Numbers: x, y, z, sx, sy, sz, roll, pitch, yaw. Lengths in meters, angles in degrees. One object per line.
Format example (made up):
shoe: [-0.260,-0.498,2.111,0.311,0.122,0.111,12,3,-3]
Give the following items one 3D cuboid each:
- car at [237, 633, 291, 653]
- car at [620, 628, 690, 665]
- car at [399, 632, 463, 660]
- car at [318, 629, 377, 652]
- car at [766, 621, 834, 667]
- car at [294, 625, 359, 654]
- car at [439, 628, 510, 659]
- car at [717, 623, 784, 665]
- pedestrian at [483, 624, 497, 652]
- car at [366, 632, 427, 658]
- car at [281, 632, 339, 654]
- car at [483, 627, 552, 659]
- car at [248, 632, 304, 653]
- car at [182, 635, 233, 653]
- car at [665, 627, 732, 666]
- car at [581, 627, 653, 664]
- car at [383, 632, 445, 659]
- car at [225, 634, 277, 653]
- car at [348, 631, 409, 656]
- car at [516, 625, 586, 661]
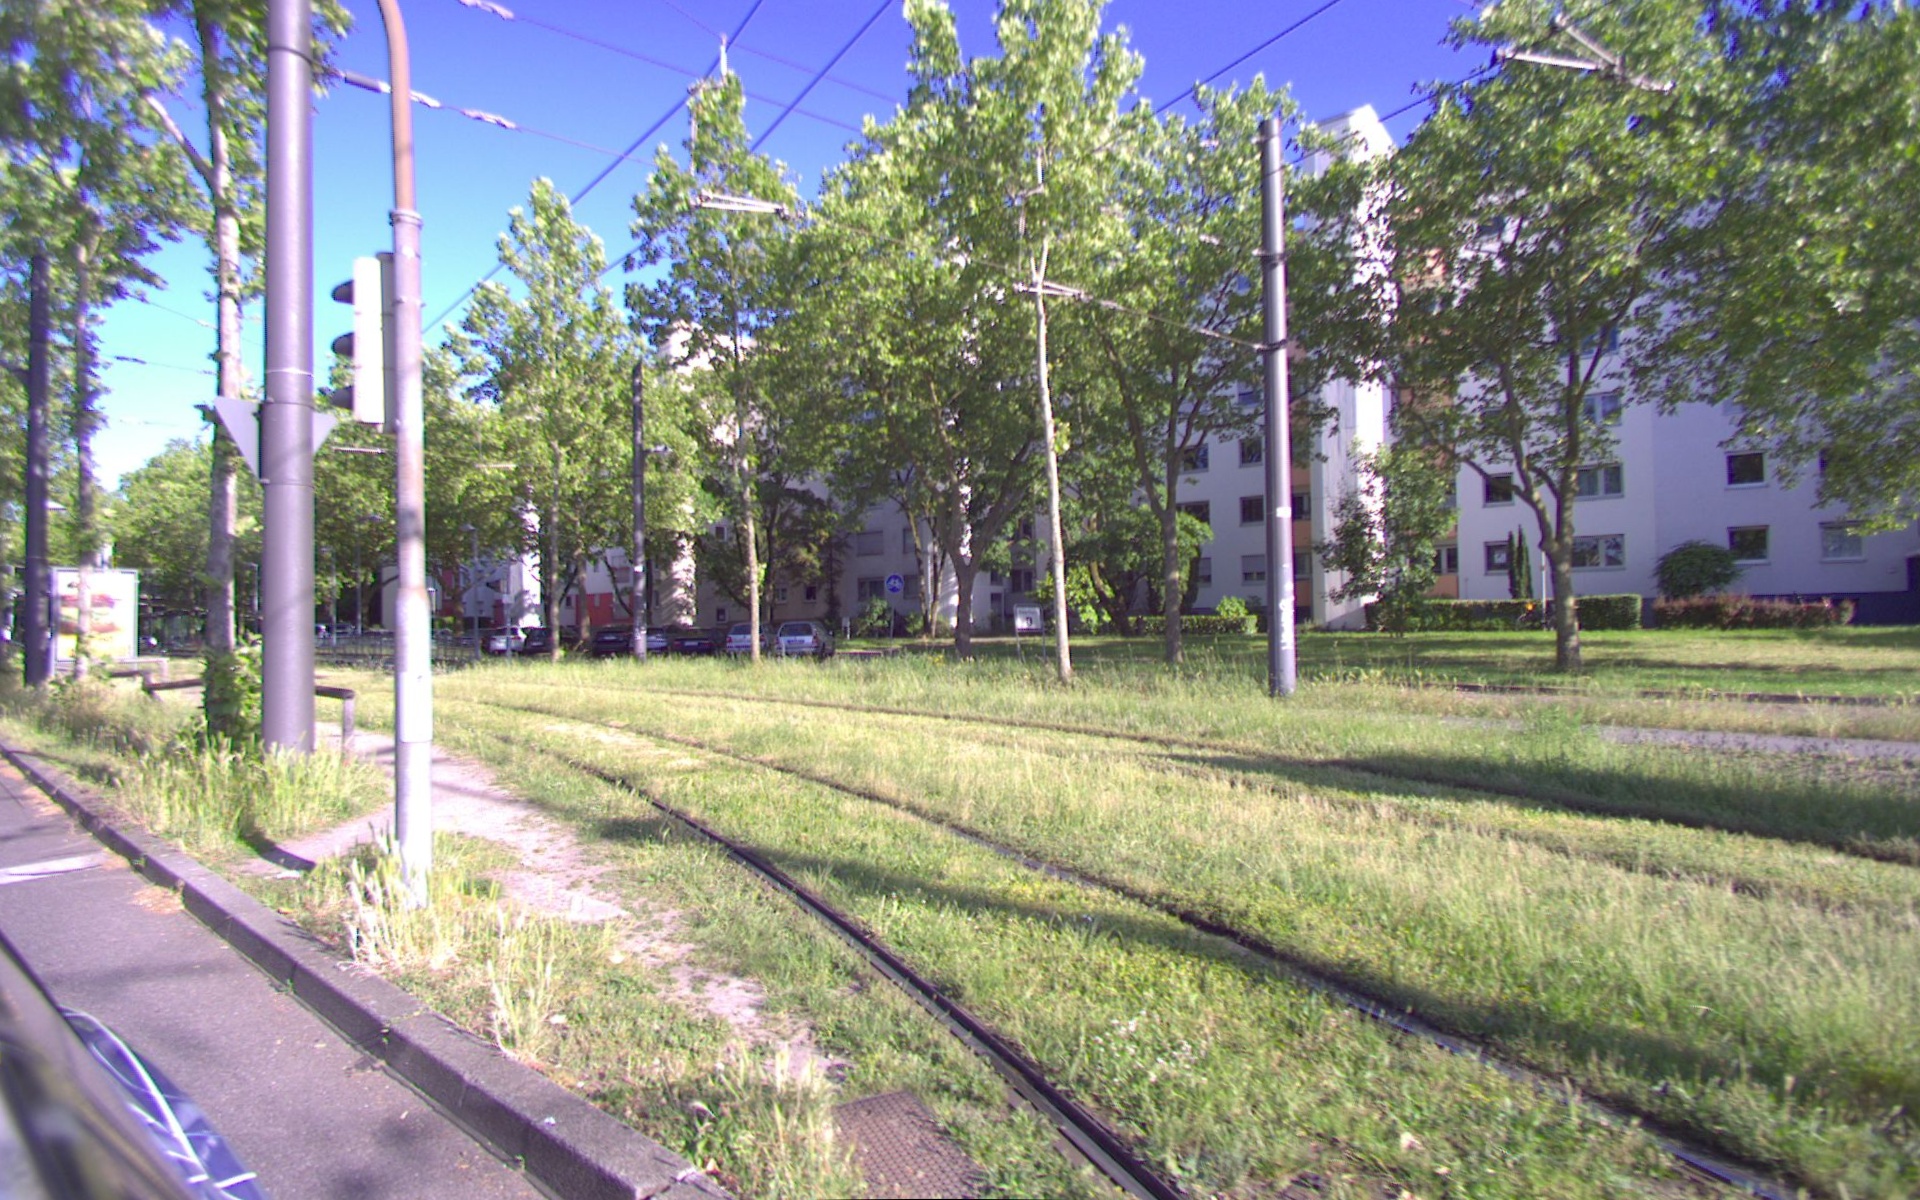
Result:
car: [-57.494,3.543,83.689,1.770,1.510,4.050,-2,-1,-1]
car: [-13.107,1.983,43.740,1.770,1.398,4.049,-2,-1,0]
car: [-31.575,2.724,60.505,1.770,1.510,4.050,-2,-1,-1]
car: [-43.335,2.839,71.647,1.770,1.510,4.050,-2,-1,-1]
car: [-5.755,1.556,36.785,1.789,1.498,4.049,-2,-1,0]
car: [-45.794,2.839,73.304,1.993,1.933,4.433,-2,-1,-1]
car: [-26.425,2.325,55.220,1.771,1.510,4.047,-2,-1,2]
car: [-8.135,1.682,39.628,1.740,1.498,4.049,-2,-1,0]
pedestrian: [-34.610,2.770,74.544,0.644,2.029,0.672,-2,-2,38]
car: [-36.463,2.919,65.576,1.770,1.510,4.050,-2,-1,-1]
car: [-48.370,3.164,75.424,1.770,1.510,4.050,-2,-1,-1]
car: [-23.145,2.220,53.098,1.771,1.510,4.047,-2,-1,2]
car: [-54.983,3.429,81.433,1.770,1.510,4.050,-2,-1,-1]
car: [-70.385,4.129,94.705,1.770,1.510,4.050,-2,-1,-1]
car: [-10.592,1.856,41.310,1.654,1.398,4.049,-2,-1,0]
car: [-15.442,2.019,45.786,1.771,1.510,4.047,-2,-1,2]
car: [-34.131,2.820,63.387,1.770,1.510,4.050,-2,-1,-1]
car: [-62.058,3.753,88.598,1.770,1.510,4.050,-2,-1,-1]
car: [-38.606,2.872,67.306,1.770,1.510,4.050,-2,-1,-1]
car: [-20.472,2.125,50.838,1.771,1.676,4.047,-2,-1,2]
